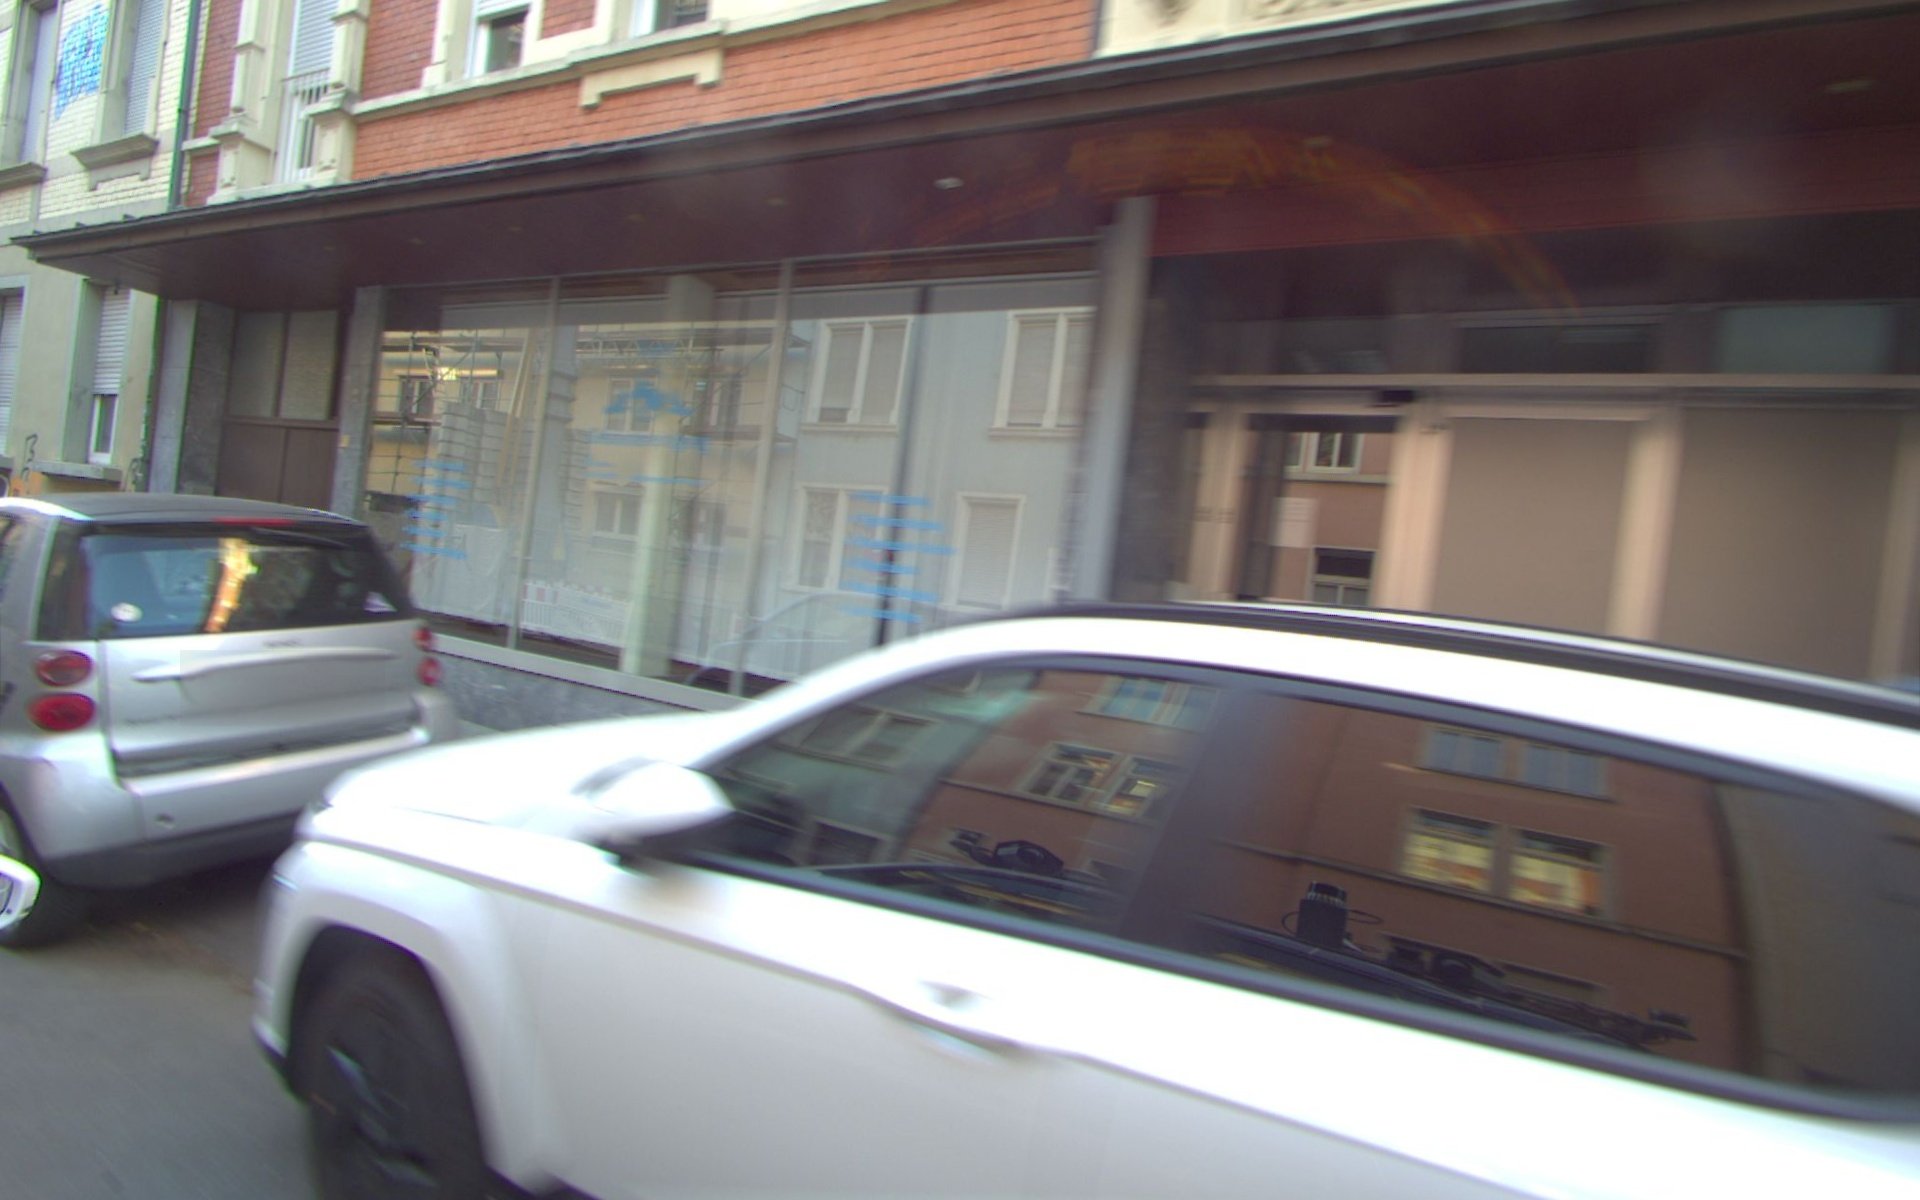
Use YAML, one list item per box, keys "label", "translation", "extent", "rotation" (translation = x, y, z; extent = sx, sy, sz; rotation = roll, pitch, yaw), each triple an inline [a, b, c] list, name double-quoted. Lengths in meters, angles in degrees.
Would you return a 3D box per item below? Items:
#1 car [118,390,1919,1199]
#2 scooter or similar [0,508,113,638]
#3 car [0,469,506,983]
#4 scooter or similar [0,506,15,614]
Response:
- label: "car"
  translation: [0.240, 0.614, 2.187]
  extent: [4.267, 1.696, 1.749]
  rotation: [7, 0, 30]
- label: "scooter or similar"
  translation: [-9.441, -0.290, 10.472]
  extent: [1.470, 1.194, 0.418]
  rotation: [7, 3, 29]
- label: "car"
  translation: [-4.065, 0.228, 4.760]
  extent: [3.750, 1.582, 1.596]
  rotation: [7, 4, 31]
- label: "scooter or similar"
  translation: [-11.361, -0.522, 11.443]
  extent: [1.470, 1.194, 0.418]
  rotation: [7, 3, 29]
